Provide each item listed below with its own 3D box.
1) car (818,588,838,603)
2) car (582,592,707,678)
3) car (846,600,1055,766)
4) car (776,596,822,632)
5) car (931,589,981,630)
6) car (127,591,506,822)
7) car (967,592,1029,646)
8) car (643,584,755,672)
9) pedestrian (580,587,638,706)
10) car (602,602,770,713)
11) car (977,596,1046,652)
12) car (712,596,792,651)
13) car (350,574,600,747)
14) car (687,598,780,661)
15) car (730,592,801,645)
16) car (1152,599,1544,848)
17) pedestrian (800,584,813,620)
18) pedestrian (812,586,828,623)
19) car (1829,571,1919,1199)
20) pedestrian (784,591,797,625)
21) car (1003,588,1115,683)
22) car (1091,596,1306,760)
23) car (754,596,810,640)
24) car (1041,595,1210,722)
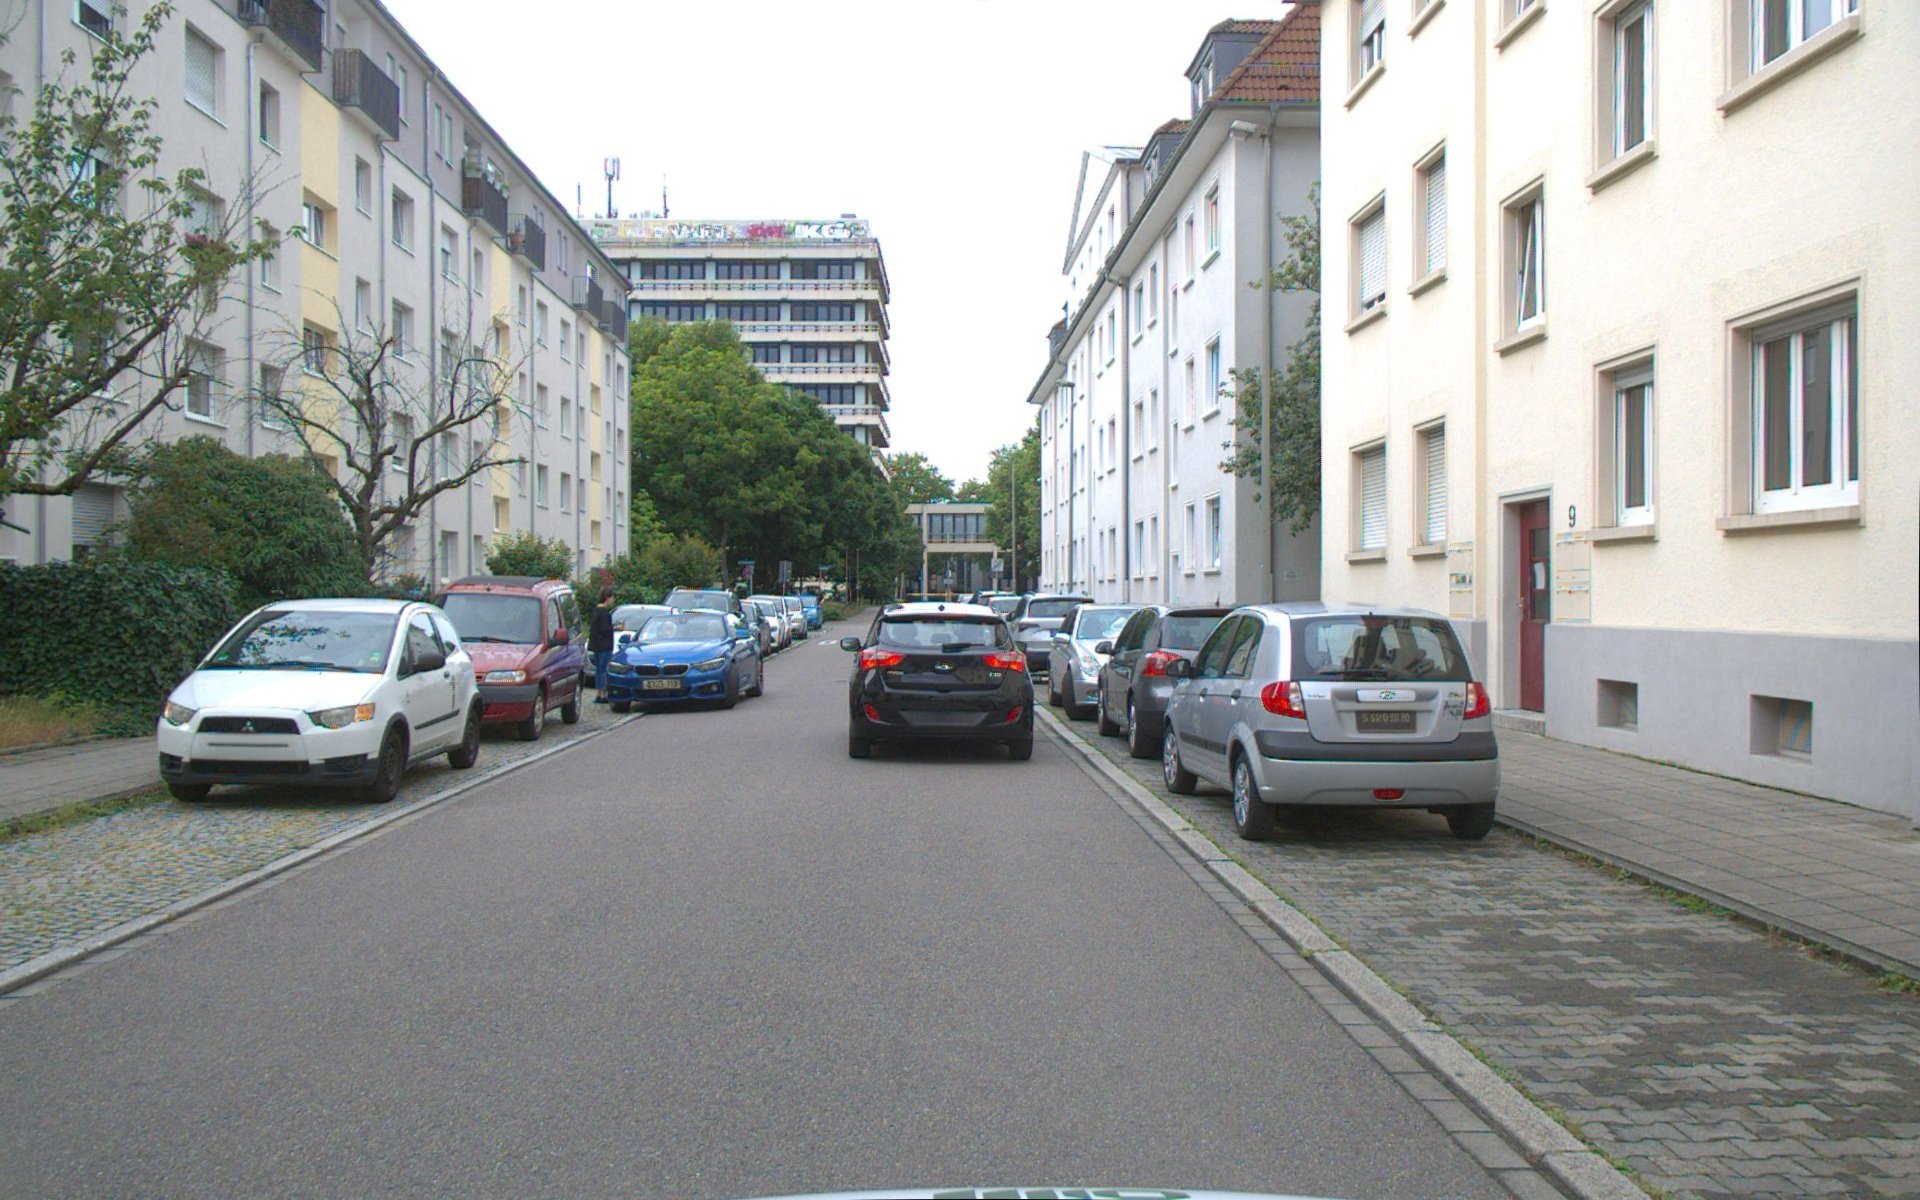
[{"bbox_3d":[-11.690,-0.418,146.463,1.632,1.356,3.394,0,1,-2],"label":"car"},{"bbox_3d":[-5.872,0.608,31.165,1.709,1.490,3.784,-1,0,-2],"label":"car"},{"bbox_3d":[-0.128,0.742,17.004,1.864,1.458,4.232,-1,0,-1],"label":"car"},{"bbox_3d":[-7.271,0.593,74.942,1.954,1.568,3.997,1,0,-4],"label":"car"},{"bbox_3d":[-0.197,0.356,64.907,1.784,1.546,4.671,0,0,-2],"label":"car"},{"bbox_3d":[-5.098,0.752,13.692,1.686,1.597,3.869,2,0,-2],"label":"car"},{"bbox_3d":[1.164,0.561,52.068,1.783,1.631,4.090,0,0,-1],"label":"car"},{"bbox_3d":[-5.718,0.573,36.718,1.857,1.770,4.473,2,0,-2],"label":"car"},{"bbox_3d":[-5.271,0.683,24.826,0.729,1.731,0.792,-1,0,-19],"label":"pedestrian"},{"bbox_3d":[-4.001,0.788,24.851,1.807,1.476,4.500,0,0,-1],"label":"car"},{"bbox_3d":[1.427,0.645,47.198,1.783,1.529,4.090,0,0,-1],"label":"car"},{"bbox_3d":[-6.007,0.653,48.229,1.857,1.477,4.519,2,0,-2],"label":"car"},{"bbox_3d":[-5.556,0.626,19.513,1.918,1.801,4.358,1,0,-4],"label":"car"},{"bbox_3d":[-5.801,0.720,42.888,1.857,1.477,4.664,2,0,-2],"label":"car"},{"bbox_3d":[-6.343,0.577,54.342,1.857,1.627,4.519,2,0,-2],"label":"car"},{"bbox_3d":[2.566,0.743,11.876,1.811,1.475,3.831,1,0,-2],"label":"car"},{"bbox_3d":[-7.870,0.092,84.690,0.592,1.863,0.675,0,0,0],"label":"pedestrian"},{"bbox_3d":[-7.146,0.230,84.418,0.699,1.863,0.797,0,0,0],"label":"pedestrian"},{"bbox_3d":[2.910,0.729,1.747,1.691,1.544,4.058,1,0,-3],"label":"car"},{"bbox_3d":[-8.637,0.418,84.474,0.588,1.743,0.648,0,0,0],"label":"pedestrian"},{"bbox_3d":[1.787,0.613,31.025,1.783,1.671,4.090,0,0,-1],"label":"car"},{"bbox_3d":[2.361,0.717,17.216,1.570,1.502,3.868,1,0,-2],"label":"car"},{"bbox_3d":[-6.695,0.661,62.640,1.954,1.568,3.997,1,0,-4],"label":"car"},{"bbox_3d":[2.103,0.697,22.118,1.690,1.502,4.503,0,0,-2],"label":"car"}]
